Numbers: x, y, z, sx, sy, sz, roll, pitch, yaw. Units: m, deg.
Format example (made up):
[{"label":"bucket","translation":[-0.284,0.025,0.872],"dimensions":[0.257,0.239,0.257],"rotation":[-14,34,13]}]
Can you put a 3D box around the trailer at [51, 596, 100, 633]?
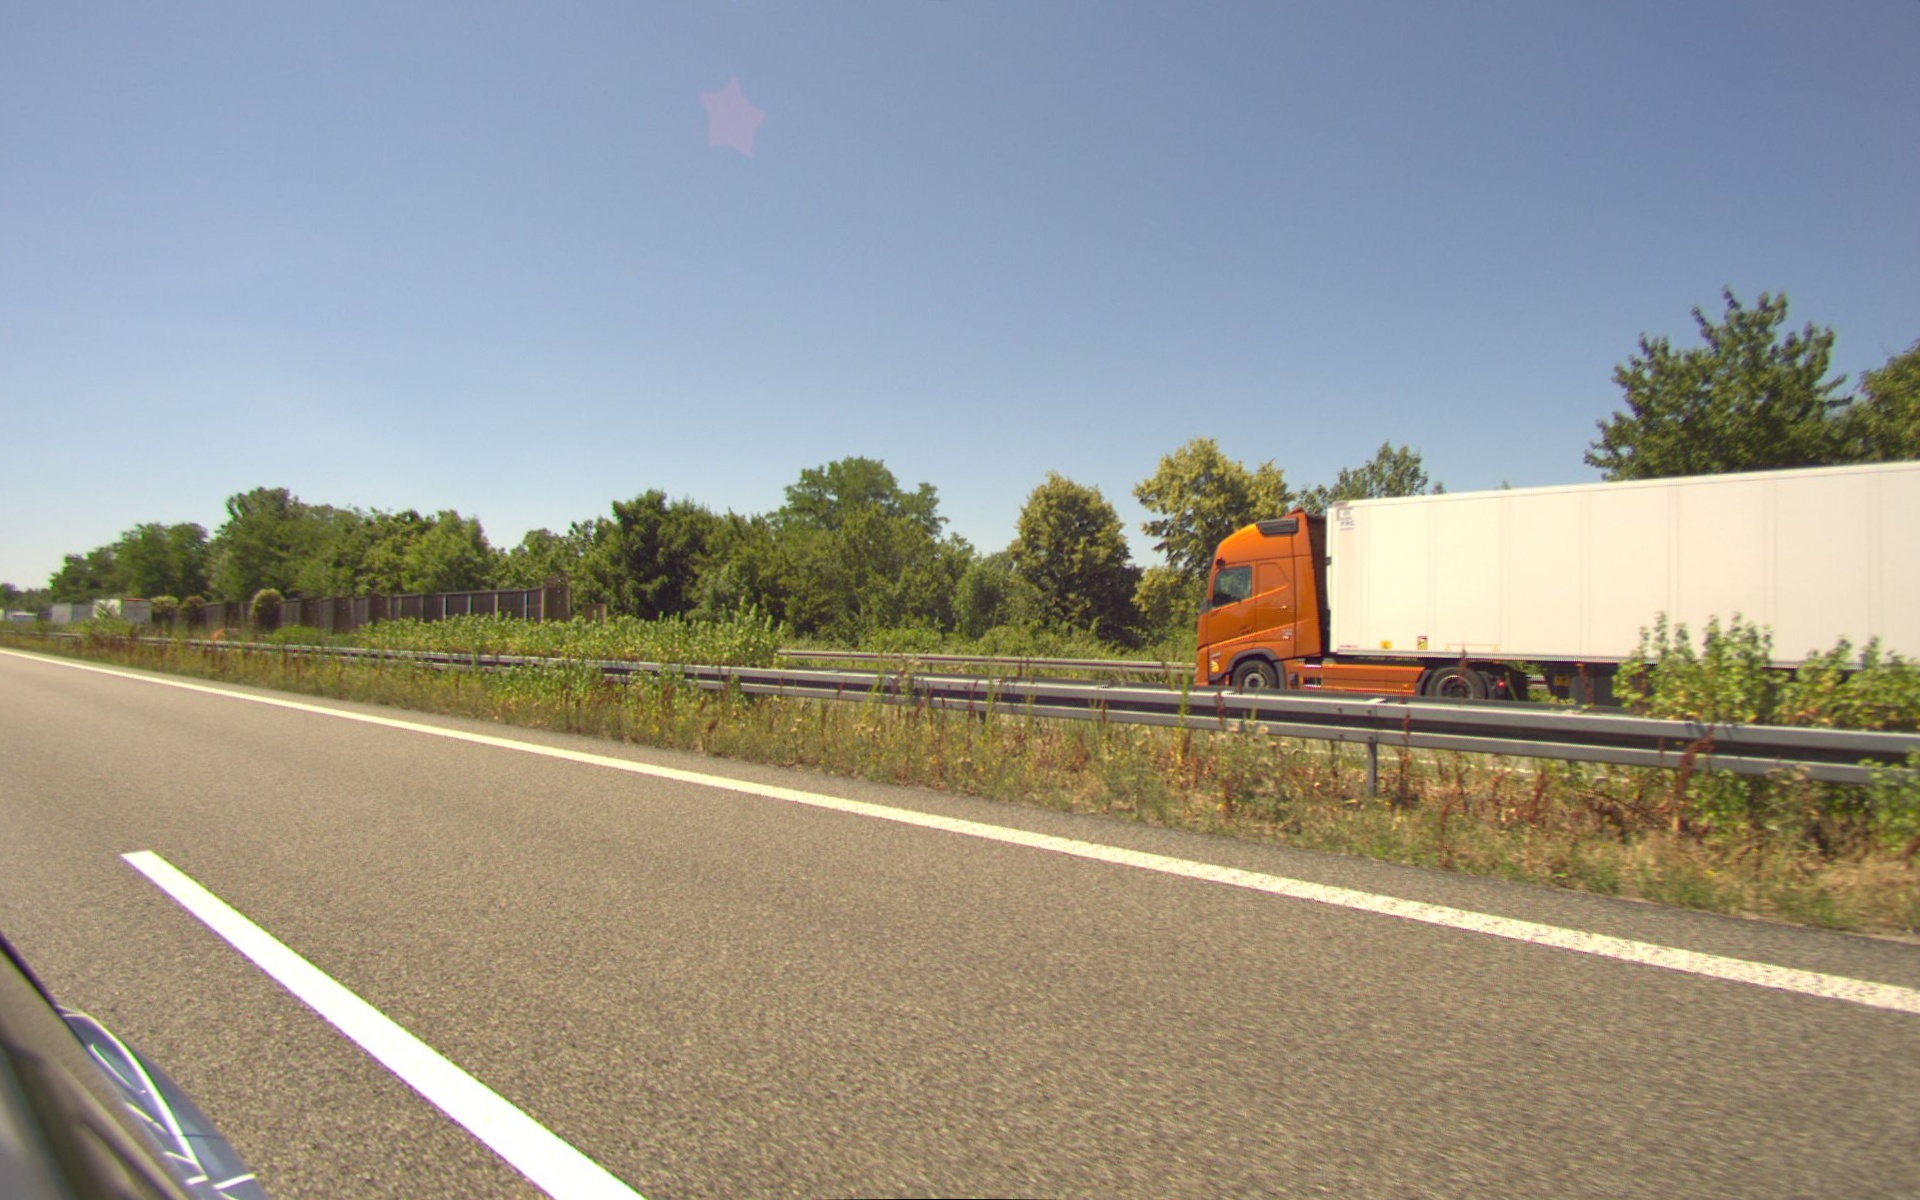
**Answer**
[{"label":"trailer","translation":[-111.982,1.874,127.998],"dimensions":[12.949,4.512,3.133],"rotation":[-1,-1,42]}]

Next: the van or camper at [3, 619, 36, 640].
[{"label":"van or camper","translation":[-120.406,3.779,129.468],"dimensions":[7.409,2.596,2.439],"rotation":[-1,-1,42]}]

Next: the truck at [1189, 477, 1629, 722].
[{"label":"truck","translation":[8.473,0.114,19.821],"dimensions":[7.413,3.965,2.703],"rotation":[-1,-4,42]}]

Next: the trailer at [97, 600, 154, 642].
[{"label":"trailer","translation":[-86.937,2.222,105.305],"dimensions":[12.218,4.205,2.812],"rotation":[-2,-1,42]}]

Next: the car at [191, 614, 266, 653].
[{"label":"car","translation":[-33.618,1.541,46.488],"dimensions":[3.999,1.717,1.972],"rotation":[-2,-2,42]}]

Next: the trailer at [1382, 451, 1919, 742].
[{"label":"trailer","translation":[13.489,0.025,15.236],"dimensions":[13.061,3.965,2.703],"rotation":[-1,-4,42]}]

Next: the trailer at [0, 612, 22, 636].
[{"label":"trailer","translation":[-167.712,4.276,177.346],"dimensions":[12.792,4.135,3.572],"rotation":[-2,-3,42]}]
